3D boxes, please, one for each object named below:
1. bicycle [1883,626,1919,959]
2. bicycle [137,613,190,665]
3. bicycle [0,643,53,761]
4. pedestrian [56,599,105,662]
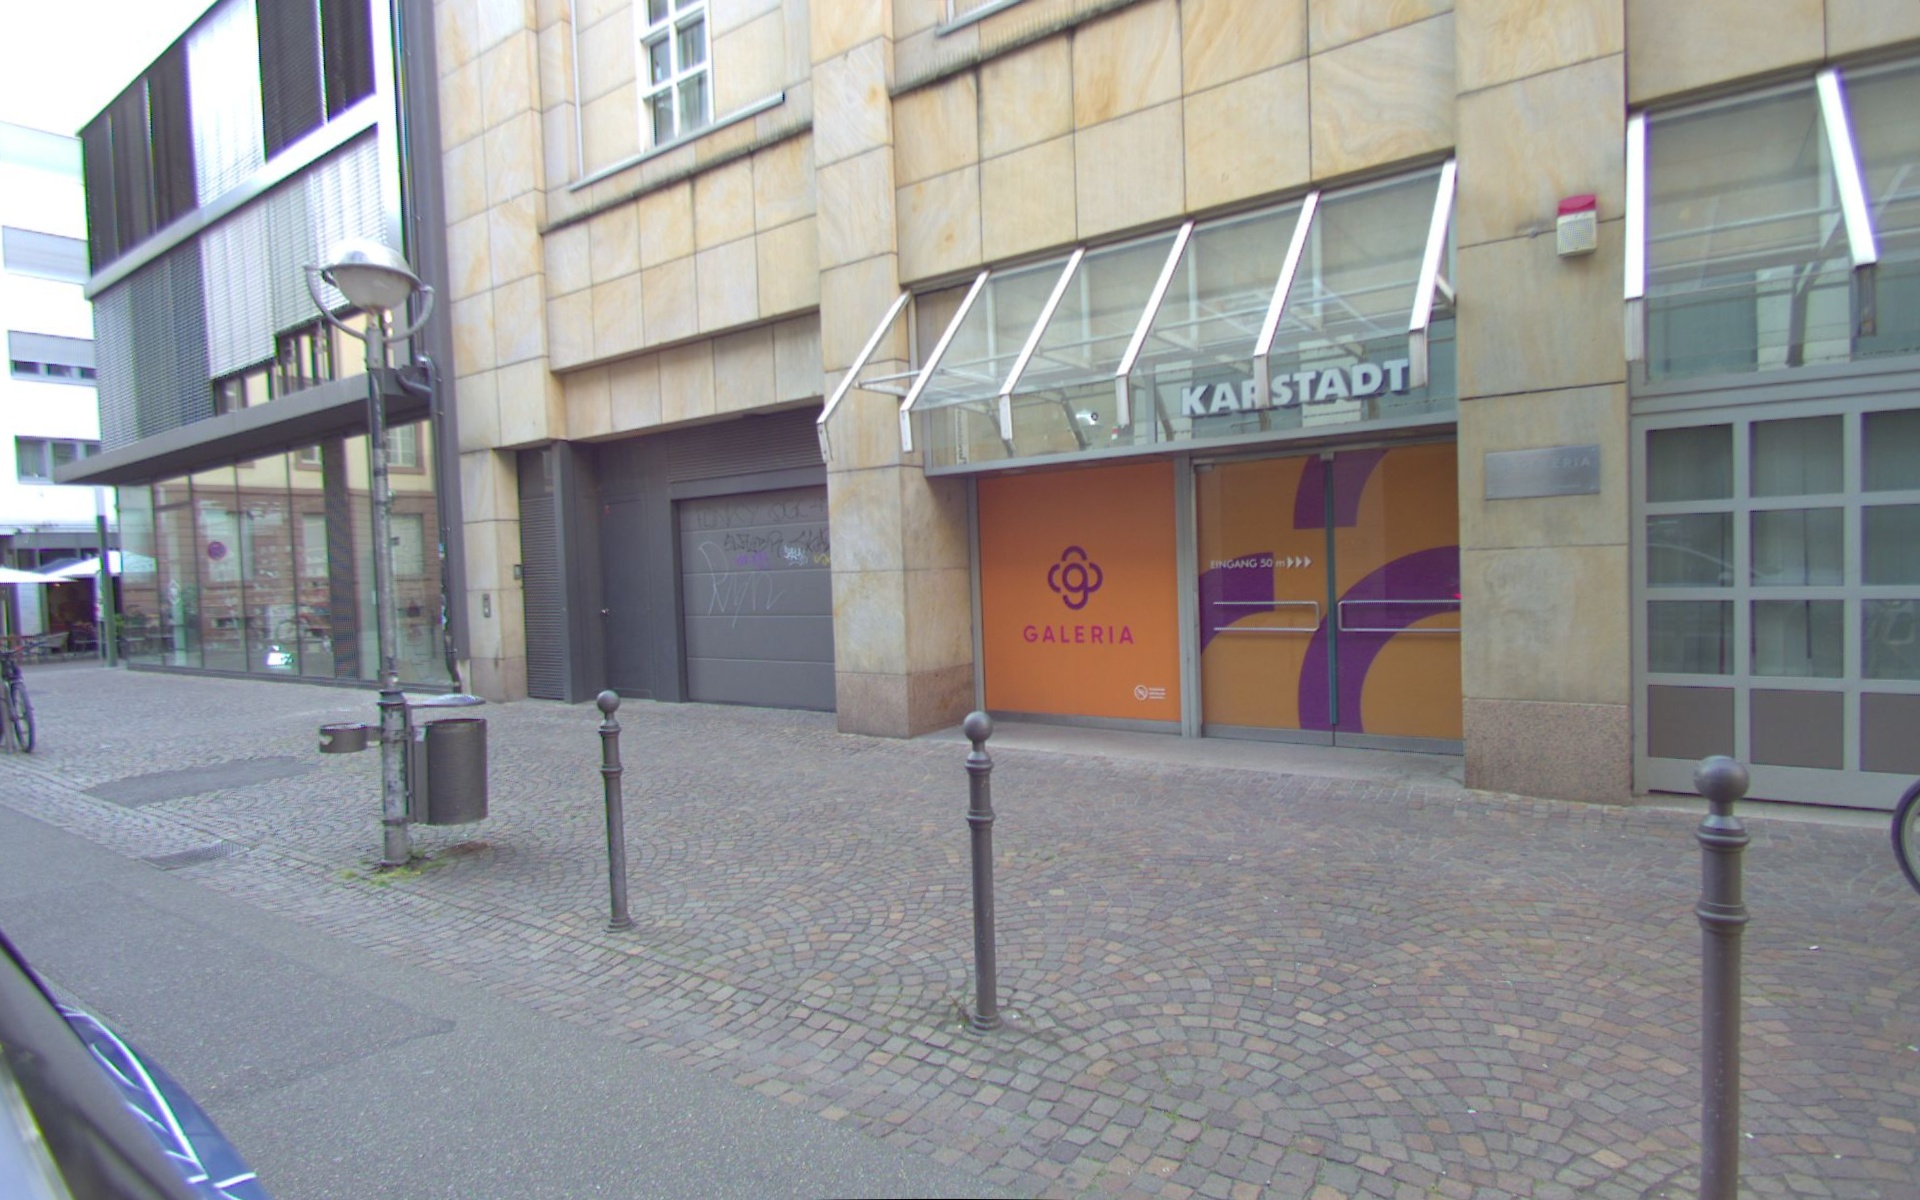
[{"bbox_3d":[4.107,0.671,3.120,0.685,1.120,1.779,-3,1,-40],"label":"bicycle"},{"bbox_3d":[-18.772,0.928,23.848,1.699,1.144,0.461,-4,0,35],"label":"bicycle"},{"bbox_3d":[-10.279,1.038,10.734,1.924,1.141,0.407,-1,2,32],"label":"bicycle"},{"bbox_3d":[-23.811,0.823,27.391,0.789,1.661,0.718,-2,1,30],"label":"pedestrian"}]
